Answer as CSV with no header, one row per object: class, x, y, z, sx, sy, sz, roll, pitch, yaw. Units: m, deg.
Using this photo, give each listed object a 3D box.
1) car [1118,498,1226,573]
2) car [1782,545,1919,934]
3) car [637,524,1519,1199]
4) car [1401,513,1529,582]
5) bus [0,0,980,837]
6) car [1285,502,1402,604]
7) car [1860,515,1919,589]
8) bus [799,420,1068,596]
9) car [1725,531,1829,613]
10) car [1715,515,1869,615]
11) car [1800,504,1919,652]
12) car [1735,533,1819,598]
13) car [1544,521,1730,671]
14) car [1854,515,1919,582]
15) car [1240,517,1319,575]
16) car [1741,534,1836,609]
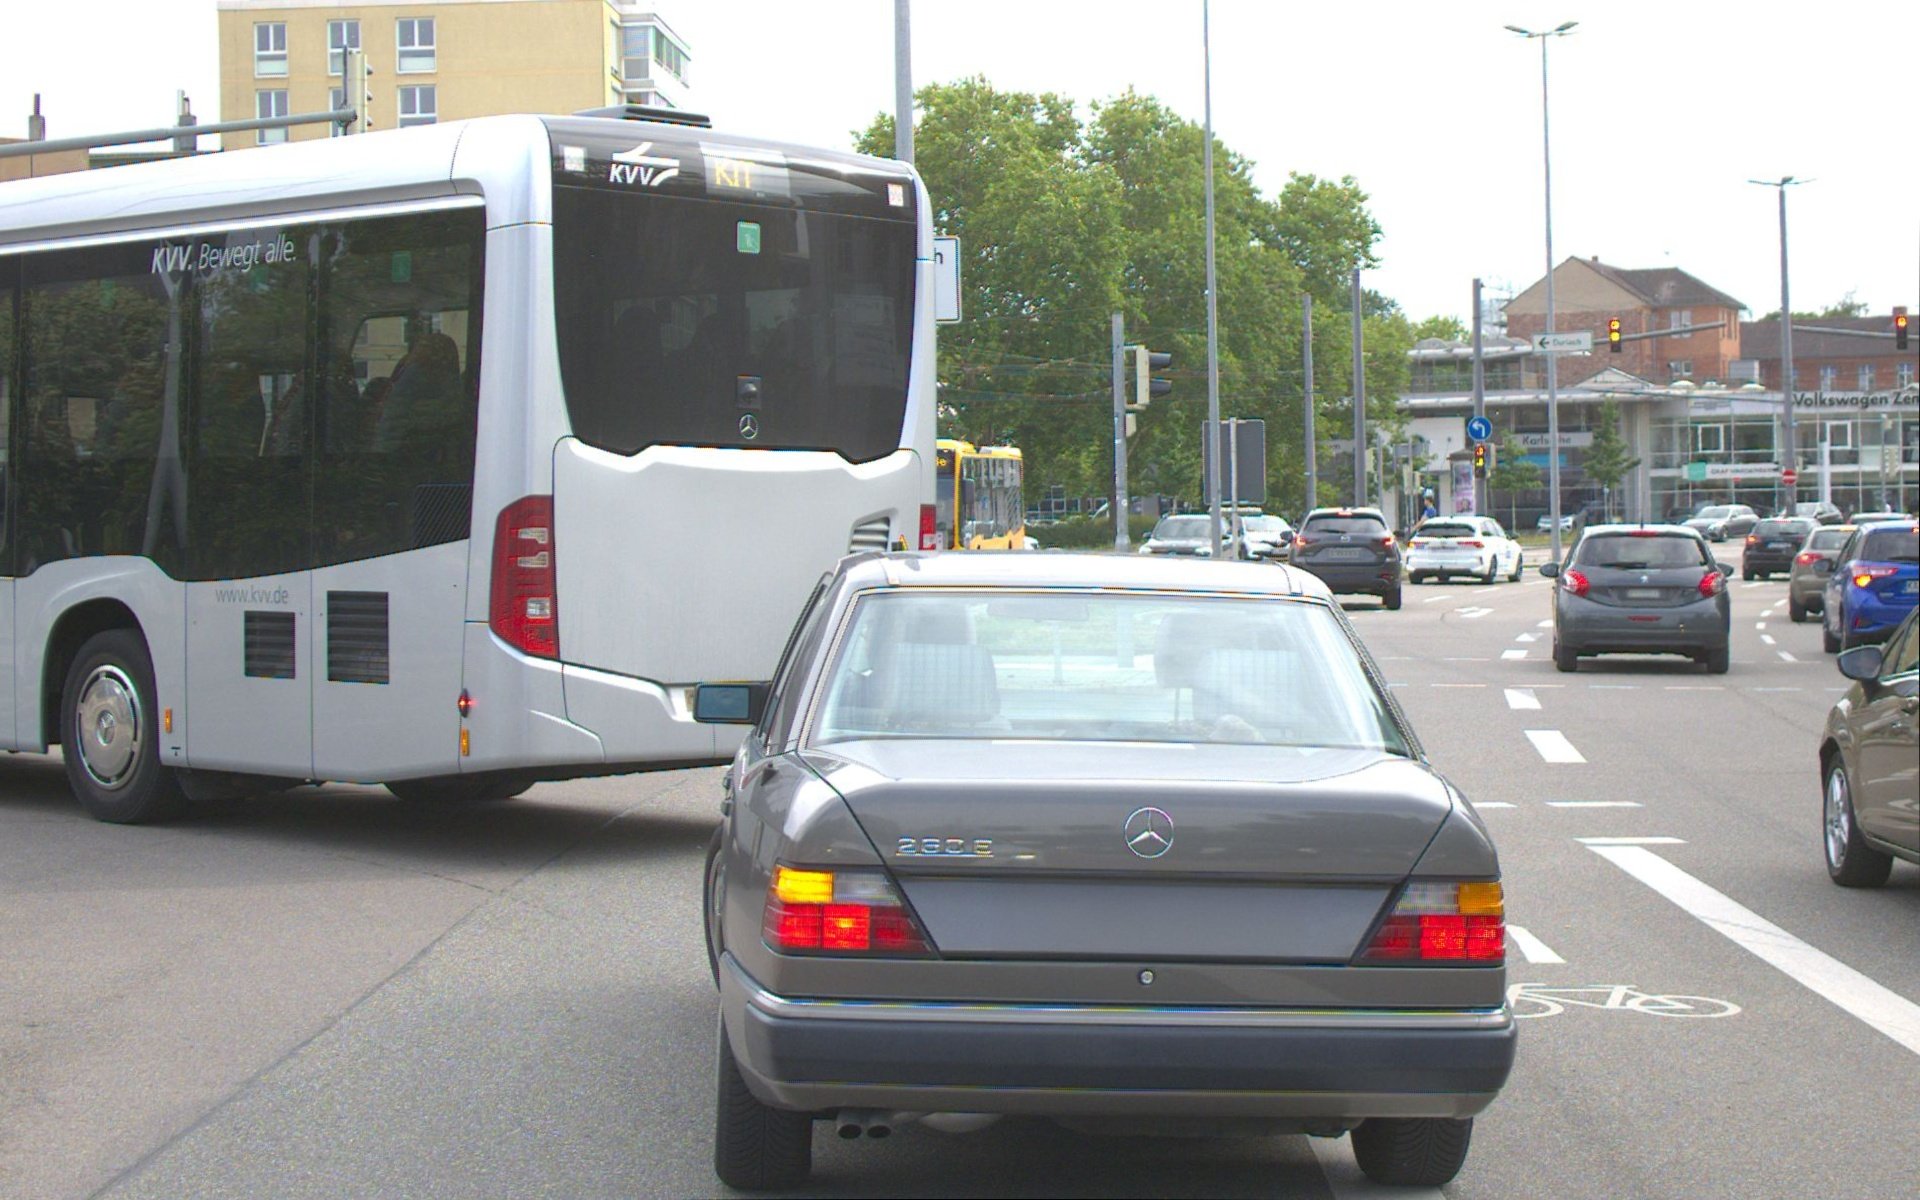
car,4.880,-1.467,78.690,1.994,1.645,4.510,1,1,9
car,4.317,0.508,12.731,1.695,1.400,3.700,1,1,1
car,0.206,0.570,8.883,1.695,1.475,4.416,1,1,-1
car,10.750,-1.109,73.050,1.713,1.415,3.995,1,1,23
bus,-5.904,-0.709,19.878,2.706,3.426,14.174,-3,1,-45
car,6.366,-0.773,56.851,1.835,1.609,3.545,1,1,7
car,18.791,-0.940,68.312,1.705,1.415,3.698,1,1,15
bus,-0.313,-1.790,70.090,3.149,3.244,12.408,1,1,11
car,14.889,-0.518,62.540,1.712,1.415,3.997,1,1,15
car,12.558,-0.534,51.747,2.134,1.415,3.698,1,1,15
car,10.409,-0.244,37.554,1.858,1.527,4.001,1,1,6
car,18.437,-0.782,77.518,1.712,1.415,3.997,1,1,15
car,6.934,-0.061,34.968,1.711,1.415,3.998,1,1,13
car,20.442,-1.121,75.151,1.705,1.415,3.698,1,1,15
car,9.469,-1.579,101.516,1.994,1.645,4.510,1,1,9
car,16.378,-0.571,67.861,1.712,1.415,3.997,1,1,15
